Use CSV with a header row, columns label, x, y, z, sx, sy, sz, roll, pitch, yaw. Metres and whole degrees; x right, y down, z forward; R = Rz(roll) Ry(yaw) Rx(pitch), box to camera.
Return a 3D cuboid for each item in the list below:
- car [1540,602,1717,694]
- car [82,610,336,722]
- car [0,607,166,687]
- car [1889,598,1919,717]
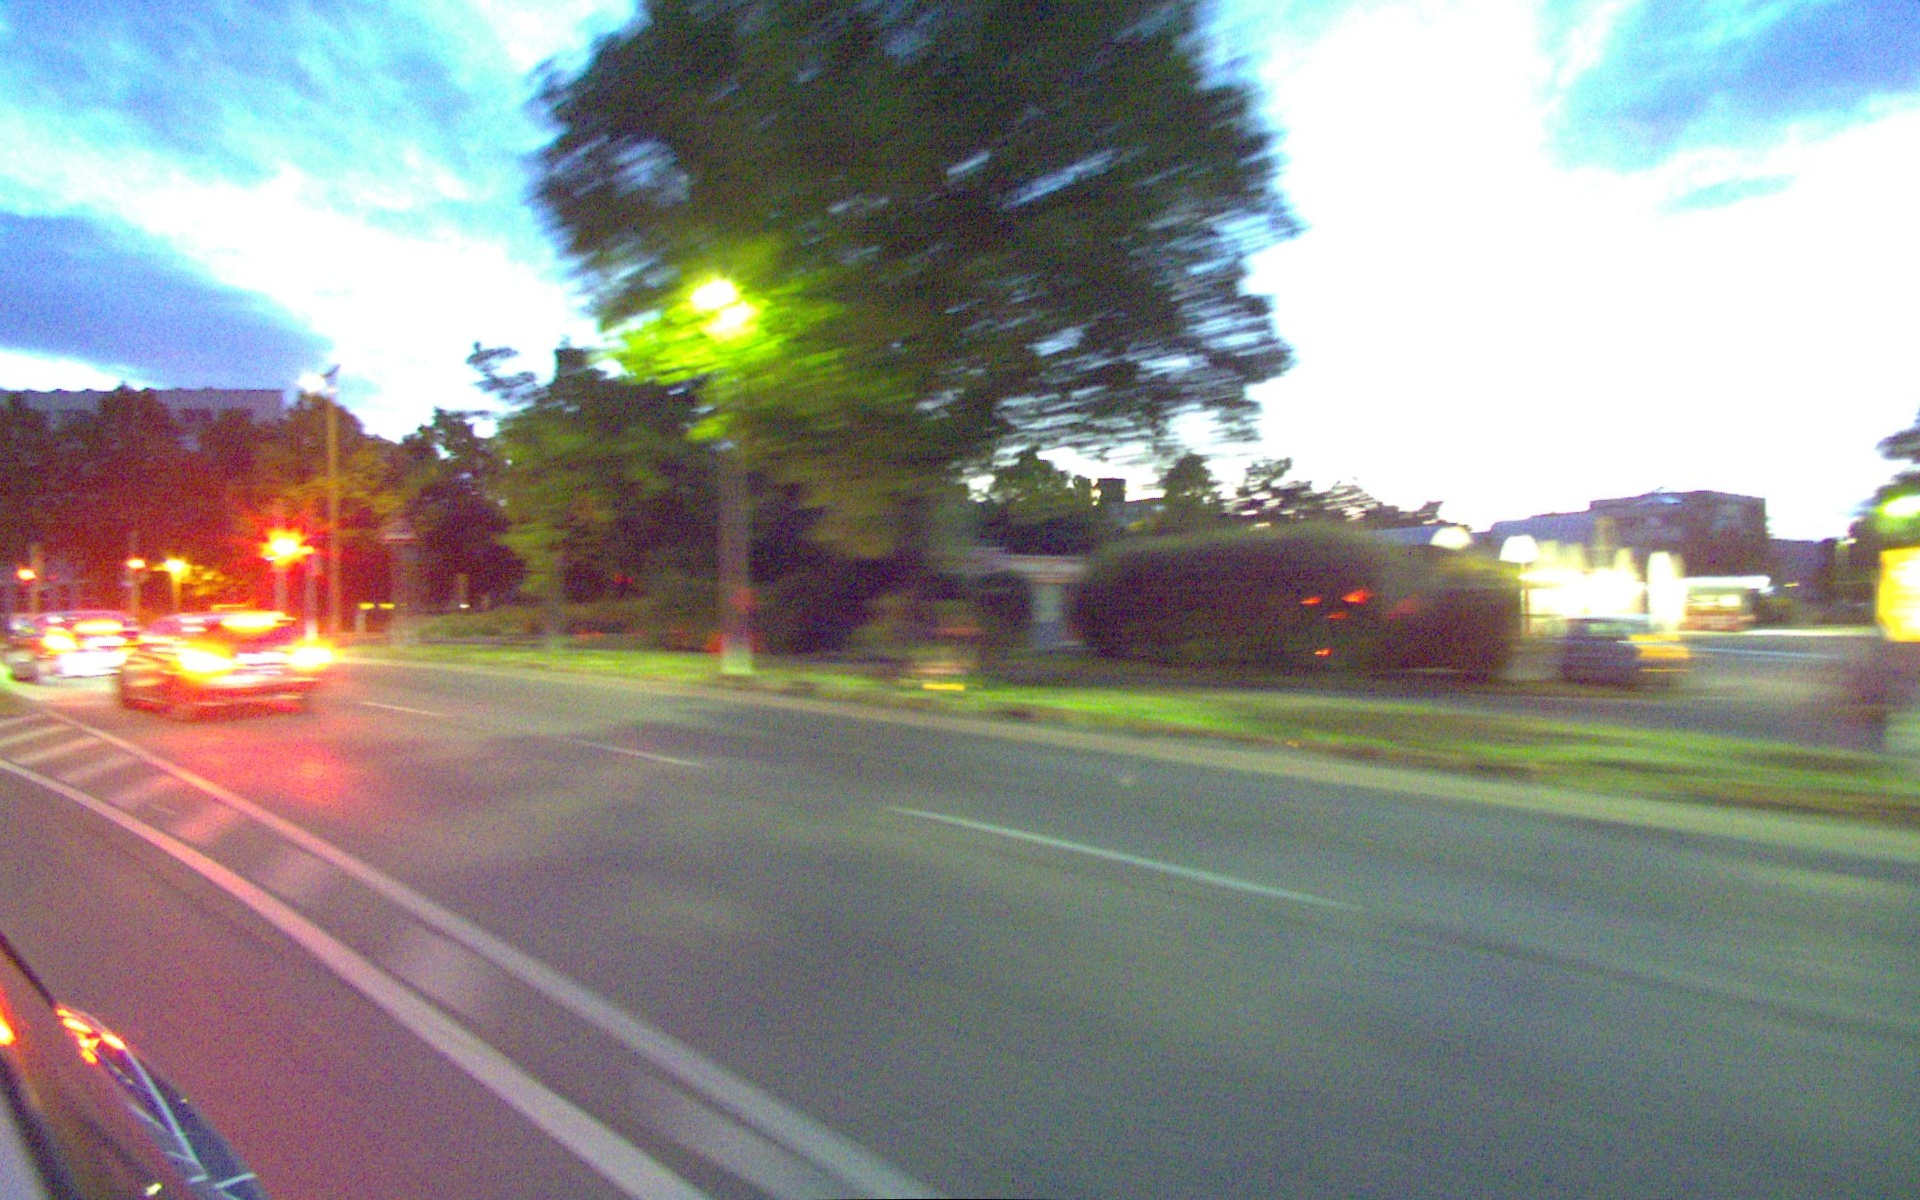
label,x,y,z,sx,sy,sz,roll,pitch,yaw
car,11.876,0.854,17.900,1.899,1.449,3.720,-3,-4,45
car,-11.108,0.861,14.868,4.578,1.414,1.743,-1,-1,36
car,-18.156,0.886,20.776,4.518,1.456,1.744,0,0,36
car,12.674,0.717,12.501,1.495,1.369,3.469,0,-2,38
